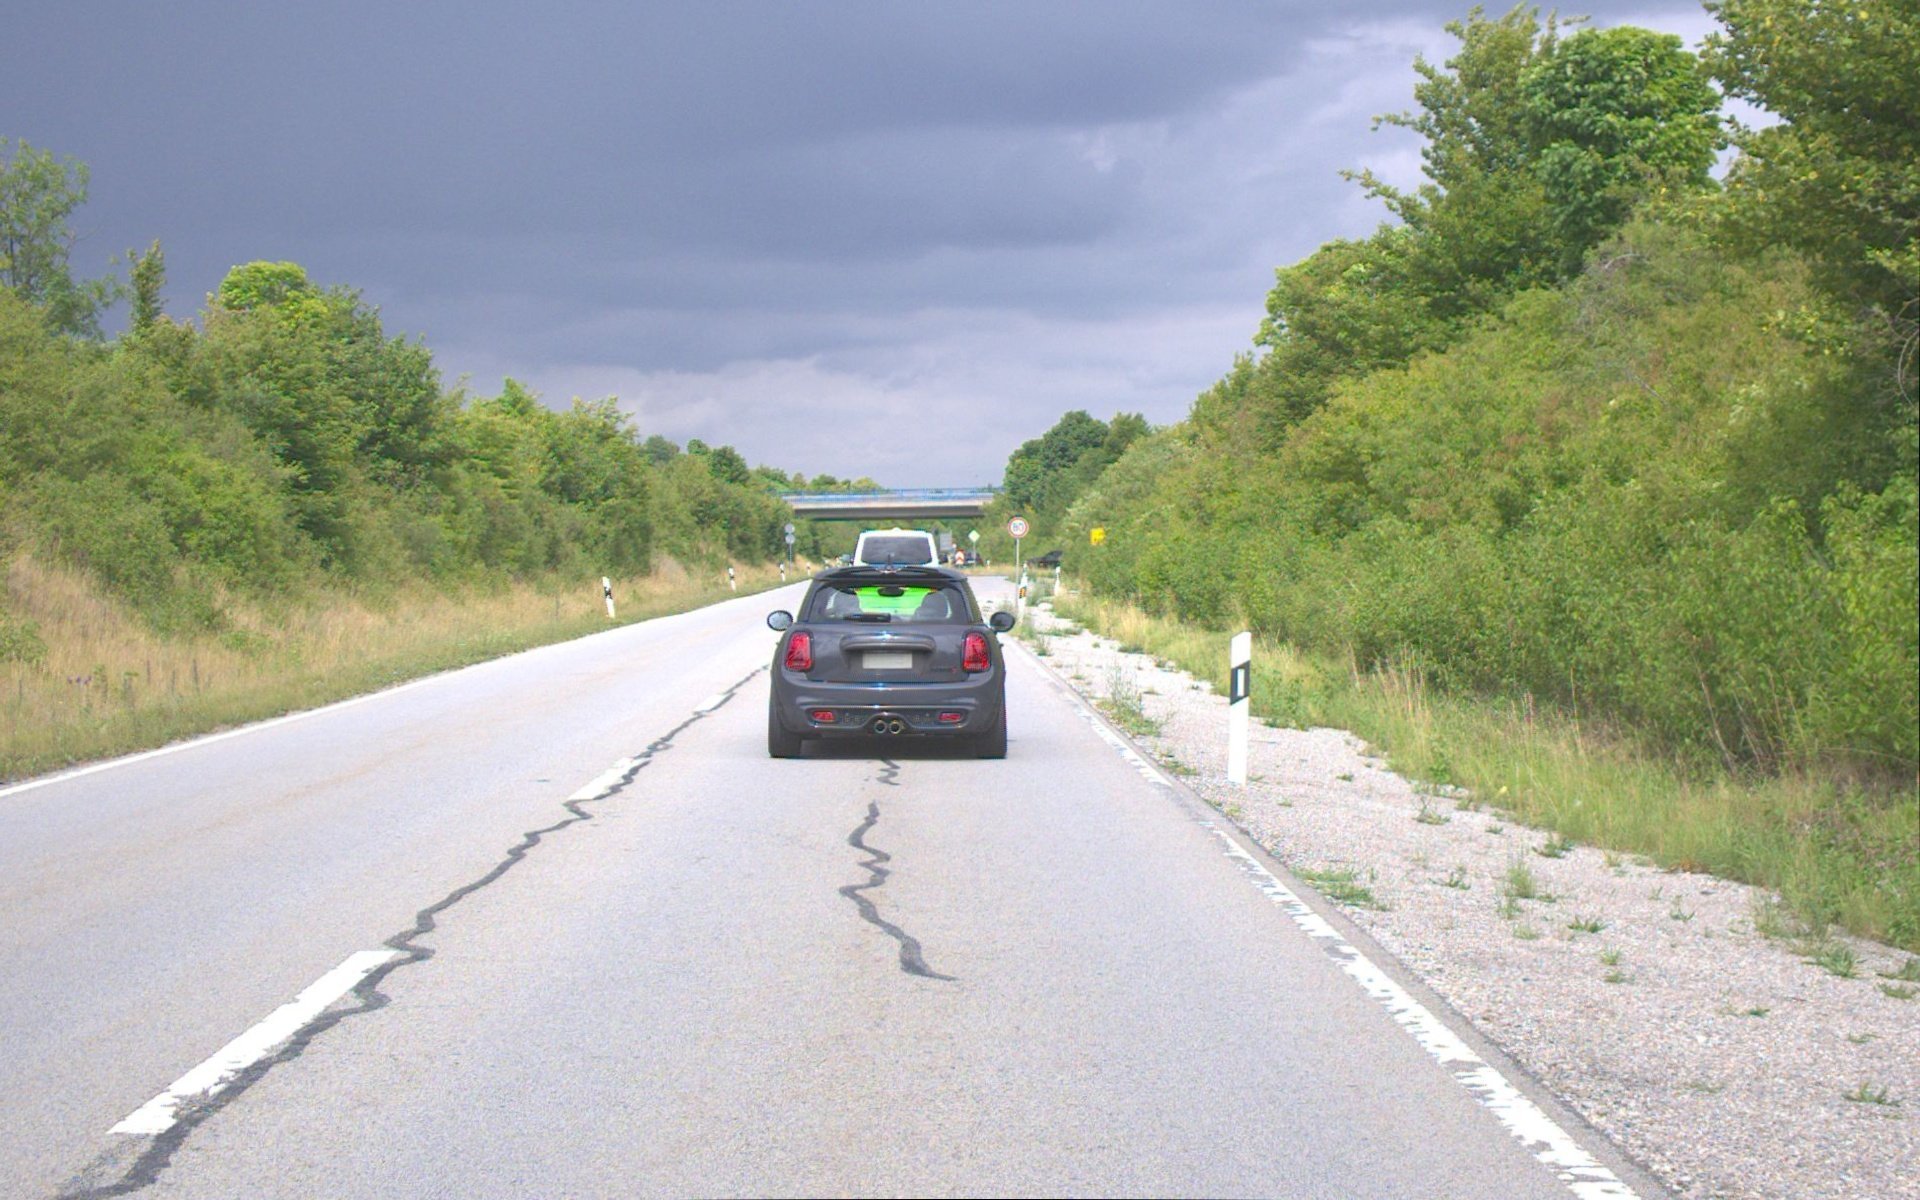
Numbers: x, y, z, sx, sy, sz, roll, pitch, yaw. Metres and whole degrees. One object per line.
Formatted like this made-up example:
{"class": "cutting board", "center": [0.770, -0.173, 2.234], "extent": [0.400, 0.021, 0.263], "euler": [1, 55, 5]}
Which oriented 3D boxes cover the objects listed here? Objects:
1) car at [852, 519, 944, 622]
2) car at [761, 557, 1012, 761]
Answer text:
{"class": "car", "center": [-1.276, -0.611, 70.997], "extent": [1.819, 2.047, 4.000], "euler": [1, 1, -1]}
{"class": "car", "center": [-0.554, 0.391, 26.330], "extent": [1.756, 1.422, 4.000], "euler": [1, 1, -1]}
